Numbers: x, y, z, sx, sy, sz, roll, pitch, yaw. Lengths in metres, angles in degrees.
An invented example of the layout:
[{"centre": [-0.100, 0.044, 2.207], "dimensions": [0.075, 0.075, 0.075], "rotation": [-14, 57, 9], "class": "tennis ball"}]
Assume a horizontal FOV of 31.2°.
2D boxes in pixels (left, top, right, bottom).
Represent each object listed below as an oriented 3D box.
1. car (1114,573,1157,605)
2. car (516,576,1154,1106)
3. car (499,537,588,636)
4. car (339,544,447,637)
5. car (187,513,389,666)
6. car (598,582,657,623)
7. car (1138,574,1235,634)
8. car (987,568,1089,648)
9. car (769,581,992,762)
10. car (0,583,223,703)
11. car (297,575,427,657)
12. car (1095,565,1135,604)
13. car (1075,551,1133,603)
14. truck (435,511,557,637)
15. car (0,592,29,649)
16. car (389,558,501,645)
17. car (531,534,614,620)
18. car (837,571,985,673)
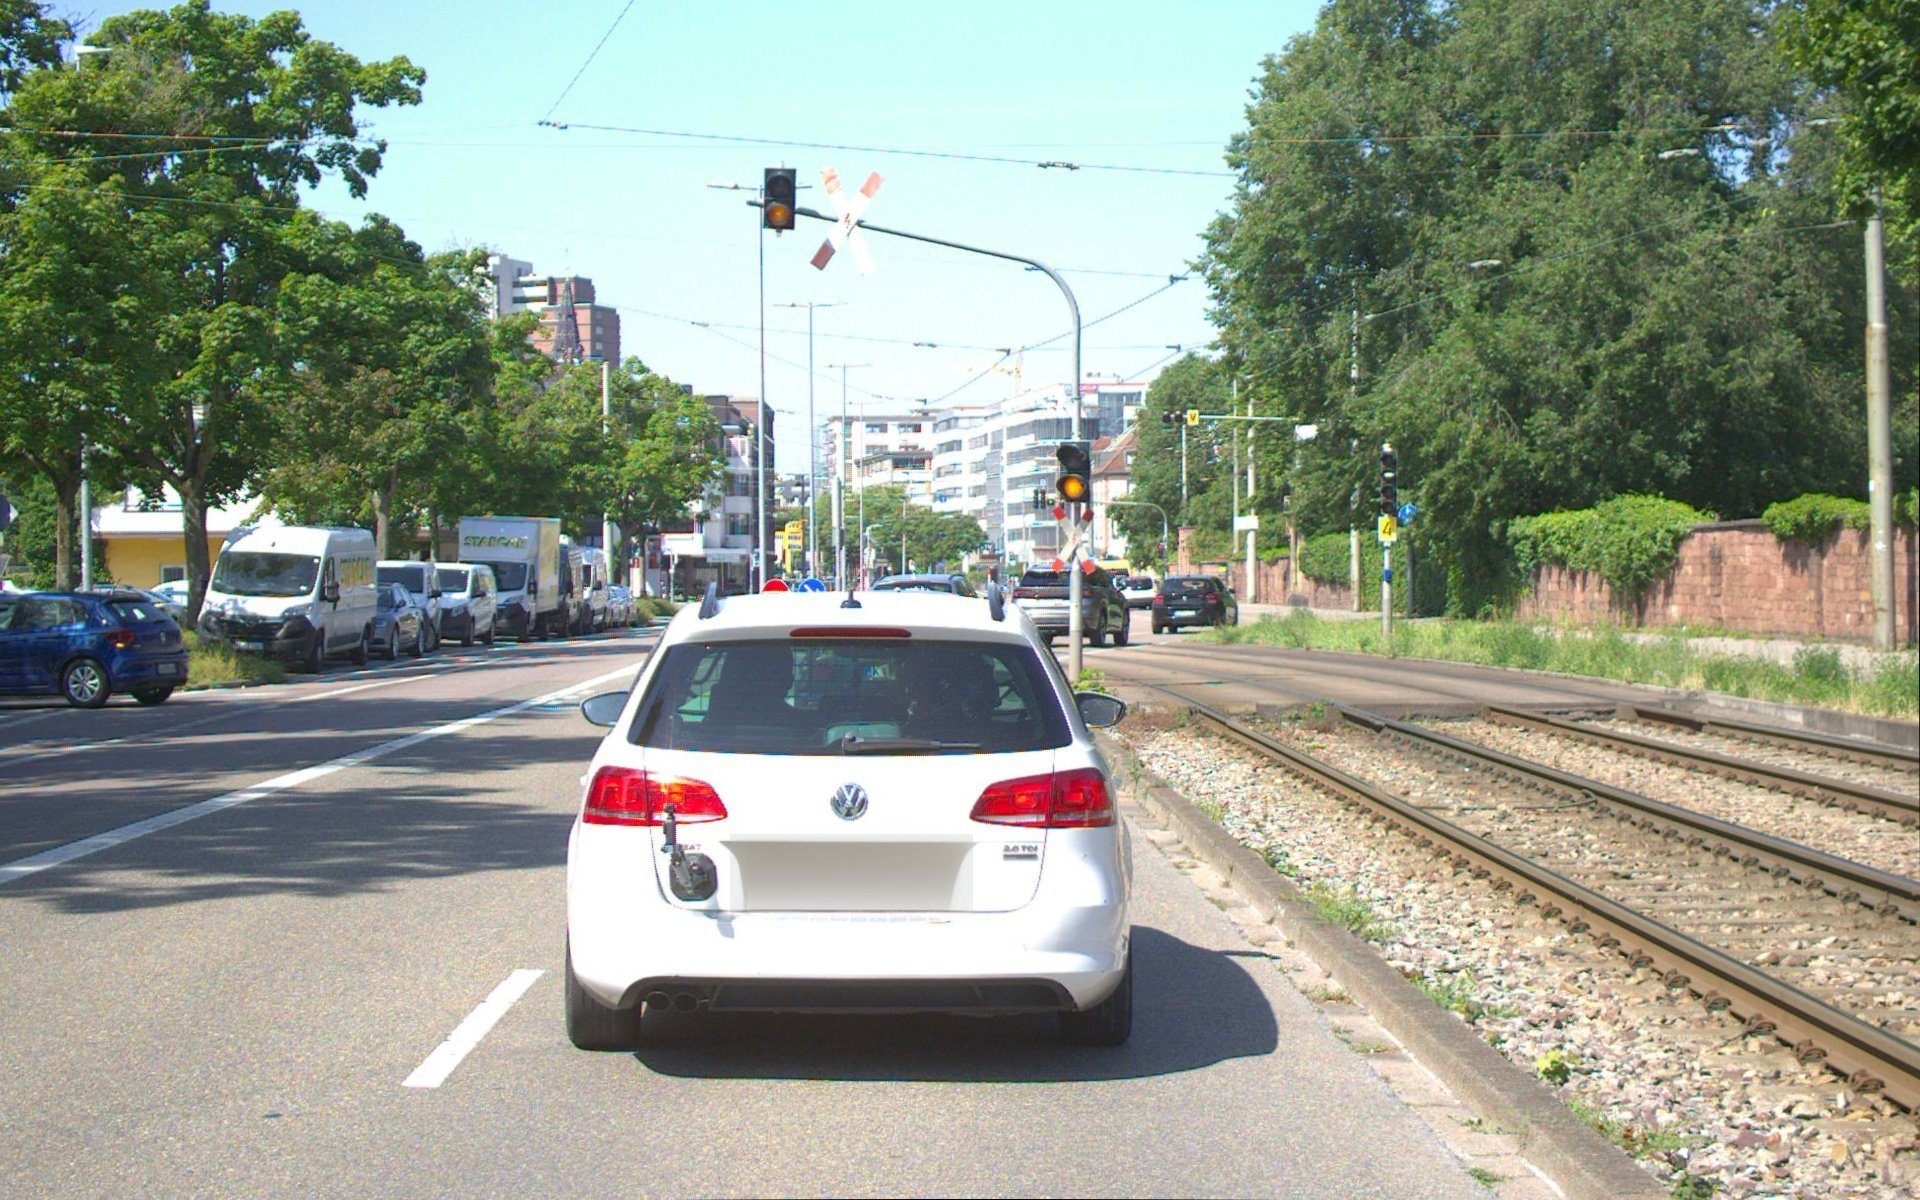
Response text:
[{"centre": [7.597, -0.462, 148.983], "dimensions": [1.581, 1.341, 3.454], "rotation": [2, 0, -1], "class": "car"}, {"centre": [-0.402, 0.671, 11.688], "dimensions": [1.768, 1.441, 3.913], "rotation": [1, 1, -1], "class": "car"}, {"centre": [-11.644, -0.396, 96.372], "dimensions": [1.843, 2.659, 5.003], "rotation": [-1, 1, 0], "class": "car"}, {"centre": [-12.286, -0.222, 74.709], "dimensions": [1.843, 1.930, 5.194], "rotation": [-1, 1, -4], "class": "car"}, {"centre": [-11.786, -0.220, 60.765], "dimensions": [2.059, 2.492, 6.307], "rotation": [2, 1, 2], "class": "car"}, {"centre": [-12.063, 0.064, 124.855], "dimensions": [1.780, 1.428, 4.038], "rotation": [-1, 1, -1], "class": "car"}, {"centre": [5.617, 0.089, 84.771], "dimensions": [1.747, 1.403, 3.911], "rotation": [2, 1, 13], "class": "car"}, {"centre": [1.598, 0.140, 69.156], "dimensions": [1.861, 1.508, 3.913], "rotation": [2, 1, 3], "class": "car"}, {"centre": [-0.664, 0.561, 29.321], "dimensions": [1.746, 1.383, 3.913], "rotation": [1, 1, -1], "class": "car"}, {"centre": [-11.337, 0.534, 42.661], "dimensions": [3.904, 1.403, 1.750], "rotation": [-1, 1, 19], "class": "car"}, {"centre": [-11.636, 0.292, 67.136], "dimensions": [1.843, 1.511, 4.197], "rotation": [-1, 1, -1], "class": "car"}, {"centre": [7.376, -0.737, 163.747], "dimensions": [1.691, 1.806, 3.454], "rotation": [2, 0, -1], "class": "car"}, {"centre": [7.158, -1.128, 171.646], "dimensions": [2.463, 2.490, 5.910], "rotation": [2, 0, -1], "class": "car"}, {"centre": [-11.944, -0.687, 88.934], "dimensions": [2.356, 3.112, 6.892], "rotation": [-1, 1, -1], "class": "truck"}, {"centre": [-22.609, 0.475, 75.166], "dimensions": [3.987, 1.221, 1.771], "rotation": [-1, 1, 2], "class": "car"}, {"centre": [-11.994, 0.012, 80.357], "dimensions": [1.843, 1.954, 5.134], "rotation": [-1, 1, 0], "class": "car"}, {"centre": [-11.734, -0.708, 104.431], "dimensions": [1.843, 2.486, 5.856], "rotation": [-1, 1, 0], "class": "car"}, {"centre": [-0.691, 0.301, 51.351], "dimensions": [1.861, 1.412, 4.324], "rotation": [2, 1, 3], "class": "car"}]
